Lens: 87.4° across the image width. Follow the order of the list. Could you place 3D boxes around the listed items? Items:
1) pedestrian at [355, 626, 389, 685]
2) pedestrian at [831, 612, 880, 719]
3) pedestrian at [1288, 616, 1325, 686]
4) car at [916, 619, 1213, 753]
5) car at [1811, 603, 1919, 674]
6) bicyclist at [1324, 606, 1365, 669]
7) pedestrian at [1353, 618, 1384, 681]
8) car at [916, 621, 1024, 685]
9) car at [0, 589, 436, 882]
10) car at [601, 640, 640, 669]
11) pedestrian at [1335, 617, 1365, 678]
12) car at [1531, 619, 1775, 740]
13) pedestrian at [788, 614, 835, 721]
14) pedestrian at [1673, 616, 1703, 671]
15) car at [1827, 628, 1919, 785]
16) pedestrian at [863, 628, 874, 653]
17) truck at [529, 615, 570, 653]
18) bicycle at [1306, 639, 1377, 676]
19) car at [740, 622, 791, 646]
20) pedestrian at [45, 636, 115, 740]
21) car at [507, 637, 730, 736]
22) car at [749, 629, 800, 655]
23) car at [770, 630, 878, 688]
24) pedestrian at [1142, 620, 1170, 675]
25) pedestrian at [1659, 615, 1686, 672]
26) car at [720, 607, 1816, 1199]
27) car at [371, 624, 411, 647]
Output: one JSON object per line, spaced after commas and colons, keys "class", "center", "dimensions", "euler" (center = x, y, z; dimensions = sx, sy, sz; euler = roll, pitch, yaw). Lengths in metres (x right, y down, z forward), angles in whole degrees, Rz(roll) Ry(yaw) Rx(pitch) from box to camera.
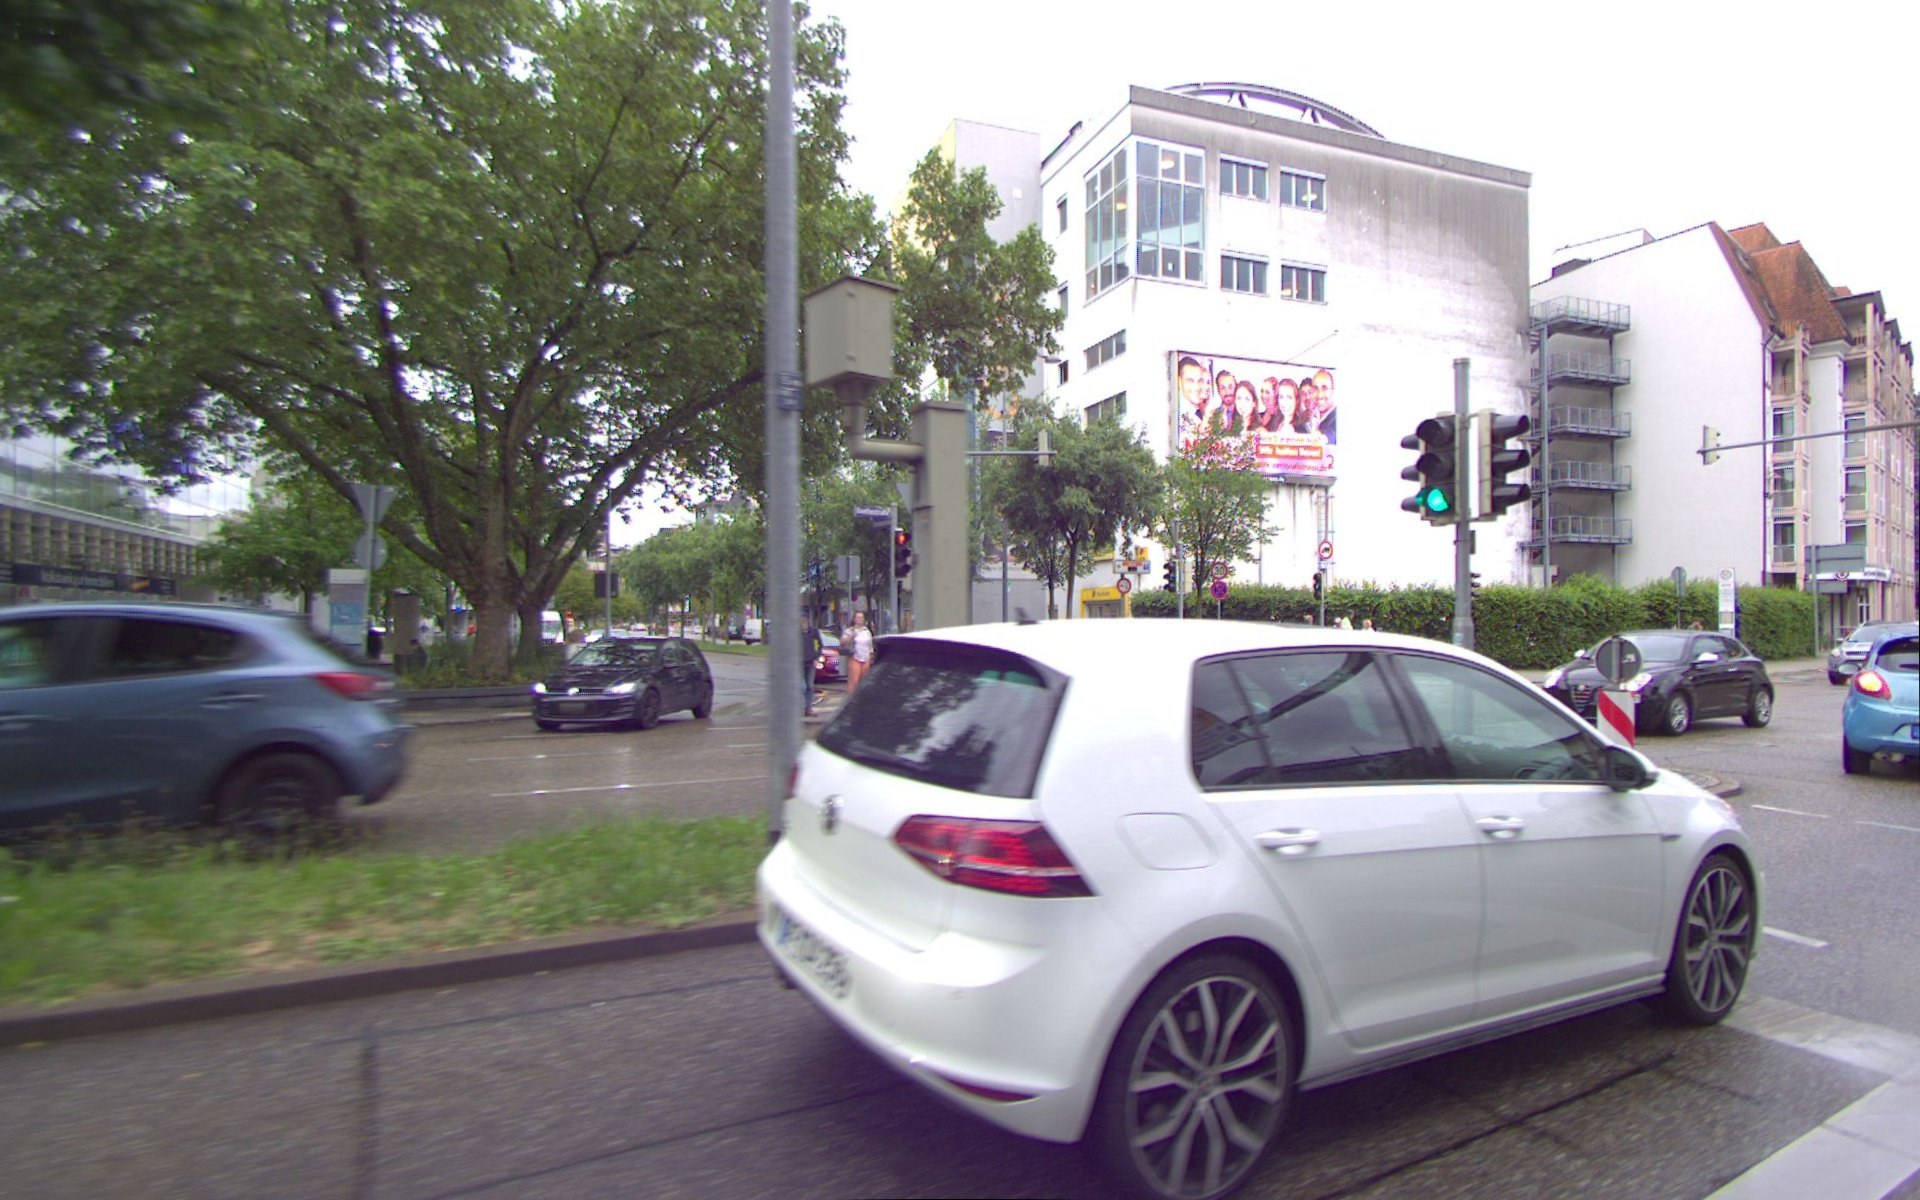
{"class": "pedestrian", "center": [-14.347, 1.355, 24.521], "dimensions": [0.515, 1.424, 0.549], "euler": [-1, -2, -3]}
{"class": "pedestrian", "center": [-1.855, 1.164, 17.879], "dimensions": [0.669, 1.861, 0.444], "euler": [4, -3, -33]}
{"class": "pedestrian", "center": [9.066, 1.328, 26.283], "dimensions": [0.586, 1.787, 0.643], "euler": [4, -3, -33]}
{"class": "car", "center": [1.393, 1.063, 13.184], "dimensions": [3.599, 1.535, 1.665], "euler": [1, -3, -29]}
{"class": "car", "center": [24.818, 1.041, 26.852], "dimensions": [4.260, 1.759, 1.819], "euler": [2, -2, -30]}
{"class": "bicyclist", "center": [12.035, 1.167, 31.444], "dimensions": [0.936, 1.915, 0.793], "euler": [0, -1, -9]}
{"class": "pedestrian", "center": [11.987, 1.448, 29.446], "dimensions": [0.586, 1.788, 0.524], "euler": [2, 1, -31]}
{"class": "car", "center": [0.232, 1.520, 29.347], "dimensions": [1.617, 1.718, 3.576], "euler": [0, -2, -28]}
{"class": "car", "center": [-5.327, 0.738, 5.894], "dimensions": [3.911, 1.498, 1.706], "euler": [2, -4, -30]}
{"class": "car", "center": [-18.659, 2.956, 55.125], "dimensions": [1.836, 1.483, 3.981], "euler": [0, -2, -21]}
{"class": "pedestrian", "center": [11.678, 1.400, 30.084], "dimensions": [0.585, 1.788, 0.524], "euler": [0, 2, -31]}
{"class": "car", "center": [10.258, 1.082, 14.823], "dimensions": [3.617, 1.576, 1.615], "euler": [1, -2, -31]}
{"class": "pedestrian", "center": [-2.569, 1.151, 17.373], "dimensions": [0.669, 1.787, 0.409], "euler": [-1, 0, -31]}
{"class": "pedestrian", "center": [24.119, 1.432, 33.274], "dimensions": [0.586, 1.787, 0.638], "euler": [4, -3, -32]}
{"class": "car", "center": [10.657, 1.062, 10.867], "dimensions": [3.666, 1.494, 1.678], "euler": [1, -2, -45]}
{"class": "pedestrian", "center": [-5.811, 2.564, 63.703], "dimensions": [0.521, 1.621, 0.694], "euler": [1, -2, -23]}
{"class": "truck", "center": [-25.158, 2.051, 61.393], "dimensions": [1.973, 2.183, 6.663], "euler": [0, -1, -25]}
{"class": "bicycle", "center": [11.914, 1.778, 31.347], "dimensions": [2.021, 1.125, 0.651], "euler": [0, -1, -10]}
{"class": "car", "center": [-14.585, 2.570, 75.582], "dimensions": [1.908, 1.684, 3.873], "euler": [3, -1, 21]}
{"class": "pedestrian", "center": [-14.251, 1.411, 16.287], "dimensions": [0.691, 1.627, 0.676], "euler": [0, -2, -27]}
{"class": "car", "center": [-5.418, 1.350, 16.631], "dimensions": [1.894, 1.414, 4.430], "euler": [0, -3, 4]}
{"class": "car", "center": [-13.200, 2.956, 71.688], "dimensions": [1.907, 1.684, 3.875], "euler": [3, -1, 17]}
{"class": "car", "center": [-4.211, 1.732, 30.608], "dimensions": [1.684, 1.607, 3.962], "euler": [0, -1, -34]}
{"class": "pedestrian", "center": [6.597, 1.600, 33.804], "dimensions": [0.779, 1.804, 0.653], "euler": [1, -3, 19]}
{"class": "pedestrian", "center": [22.858, 1.404, 32.225], "dimensions": [0.624, 1.787, 0.524], "euler": [4, -3, -32]}
{"class": "car", "center": [1.301, 0.808, 3.805], "dimensions": [3.953, 1.428, 1.756], "euler": [2, -1, -30]}
{"class": "car", "center": [-48.697, 2.995, 86.050], "dimensions": [1.884, 1.773, 3.801], "euler": [3, -1, -13]}
